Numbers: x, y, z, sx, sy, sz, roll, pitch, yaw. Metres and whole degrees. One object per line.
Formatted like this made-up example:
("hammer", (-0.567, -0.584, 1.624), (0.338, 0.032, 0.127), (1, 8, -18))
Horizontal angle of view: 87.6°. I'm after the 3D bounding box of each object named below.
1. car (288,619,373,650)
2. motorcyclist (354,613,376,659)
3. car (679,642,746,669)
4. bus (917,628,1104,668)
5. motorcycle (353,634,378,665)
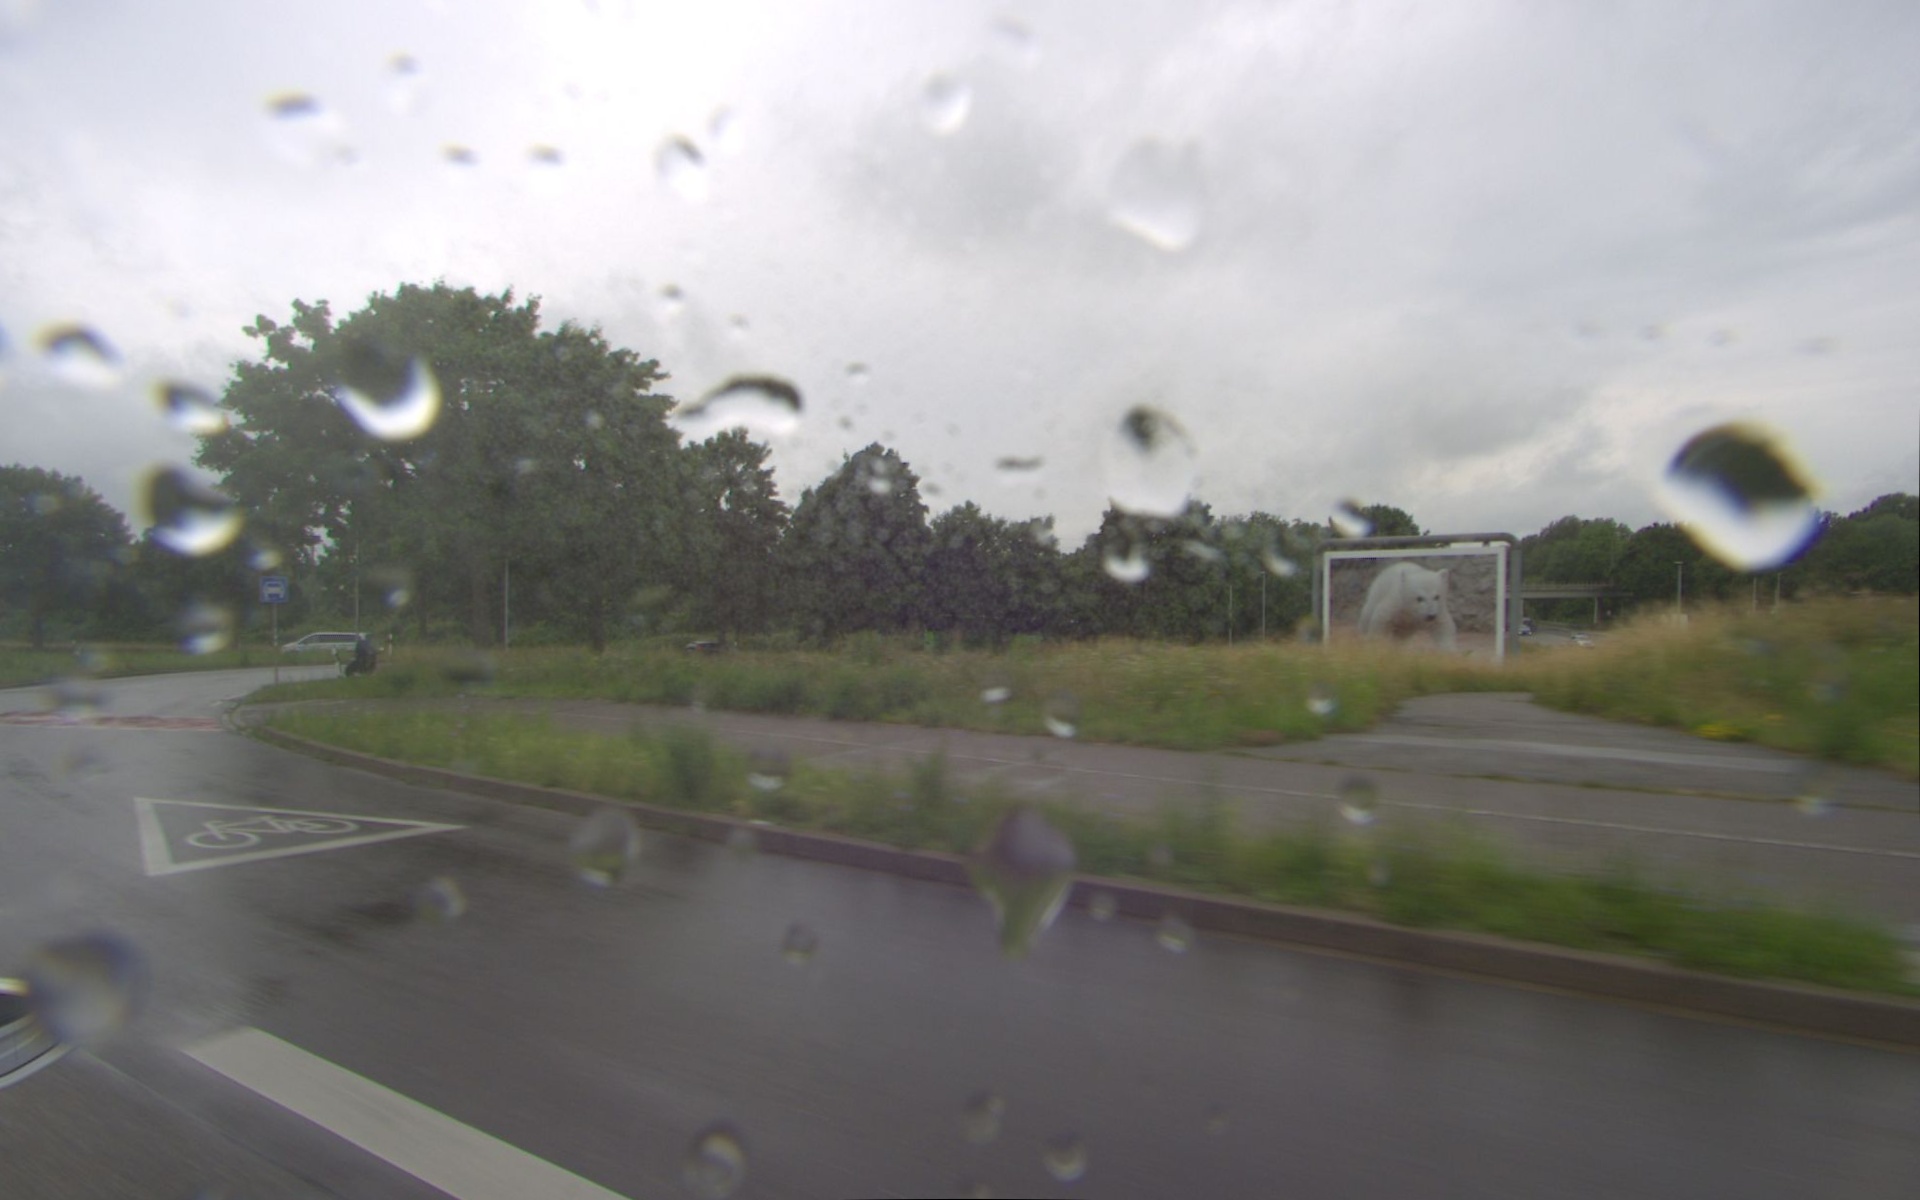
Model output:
("car", (-41.768, 2.302, 66.555), (4.538, 2.000, 2.058), (1, -1, -26))
("motorcyclist", (-22.526, 1.361, 37.940), (0.593, 1.712, 0.857), (-1, 0, -25))
("car", (-15.866, 3.519, 64.298), (1.837, 1.638, 3.974), (-1, -2, 37))
("bus", (3.956, 3.626, 76.793), (14.337, 2.715, 2.757), (0, 0, -18))
("motorcycle", (-22.530, 1.851, 37.964), (0.593, 1.108, 1.726), (-1, 0, -24))
